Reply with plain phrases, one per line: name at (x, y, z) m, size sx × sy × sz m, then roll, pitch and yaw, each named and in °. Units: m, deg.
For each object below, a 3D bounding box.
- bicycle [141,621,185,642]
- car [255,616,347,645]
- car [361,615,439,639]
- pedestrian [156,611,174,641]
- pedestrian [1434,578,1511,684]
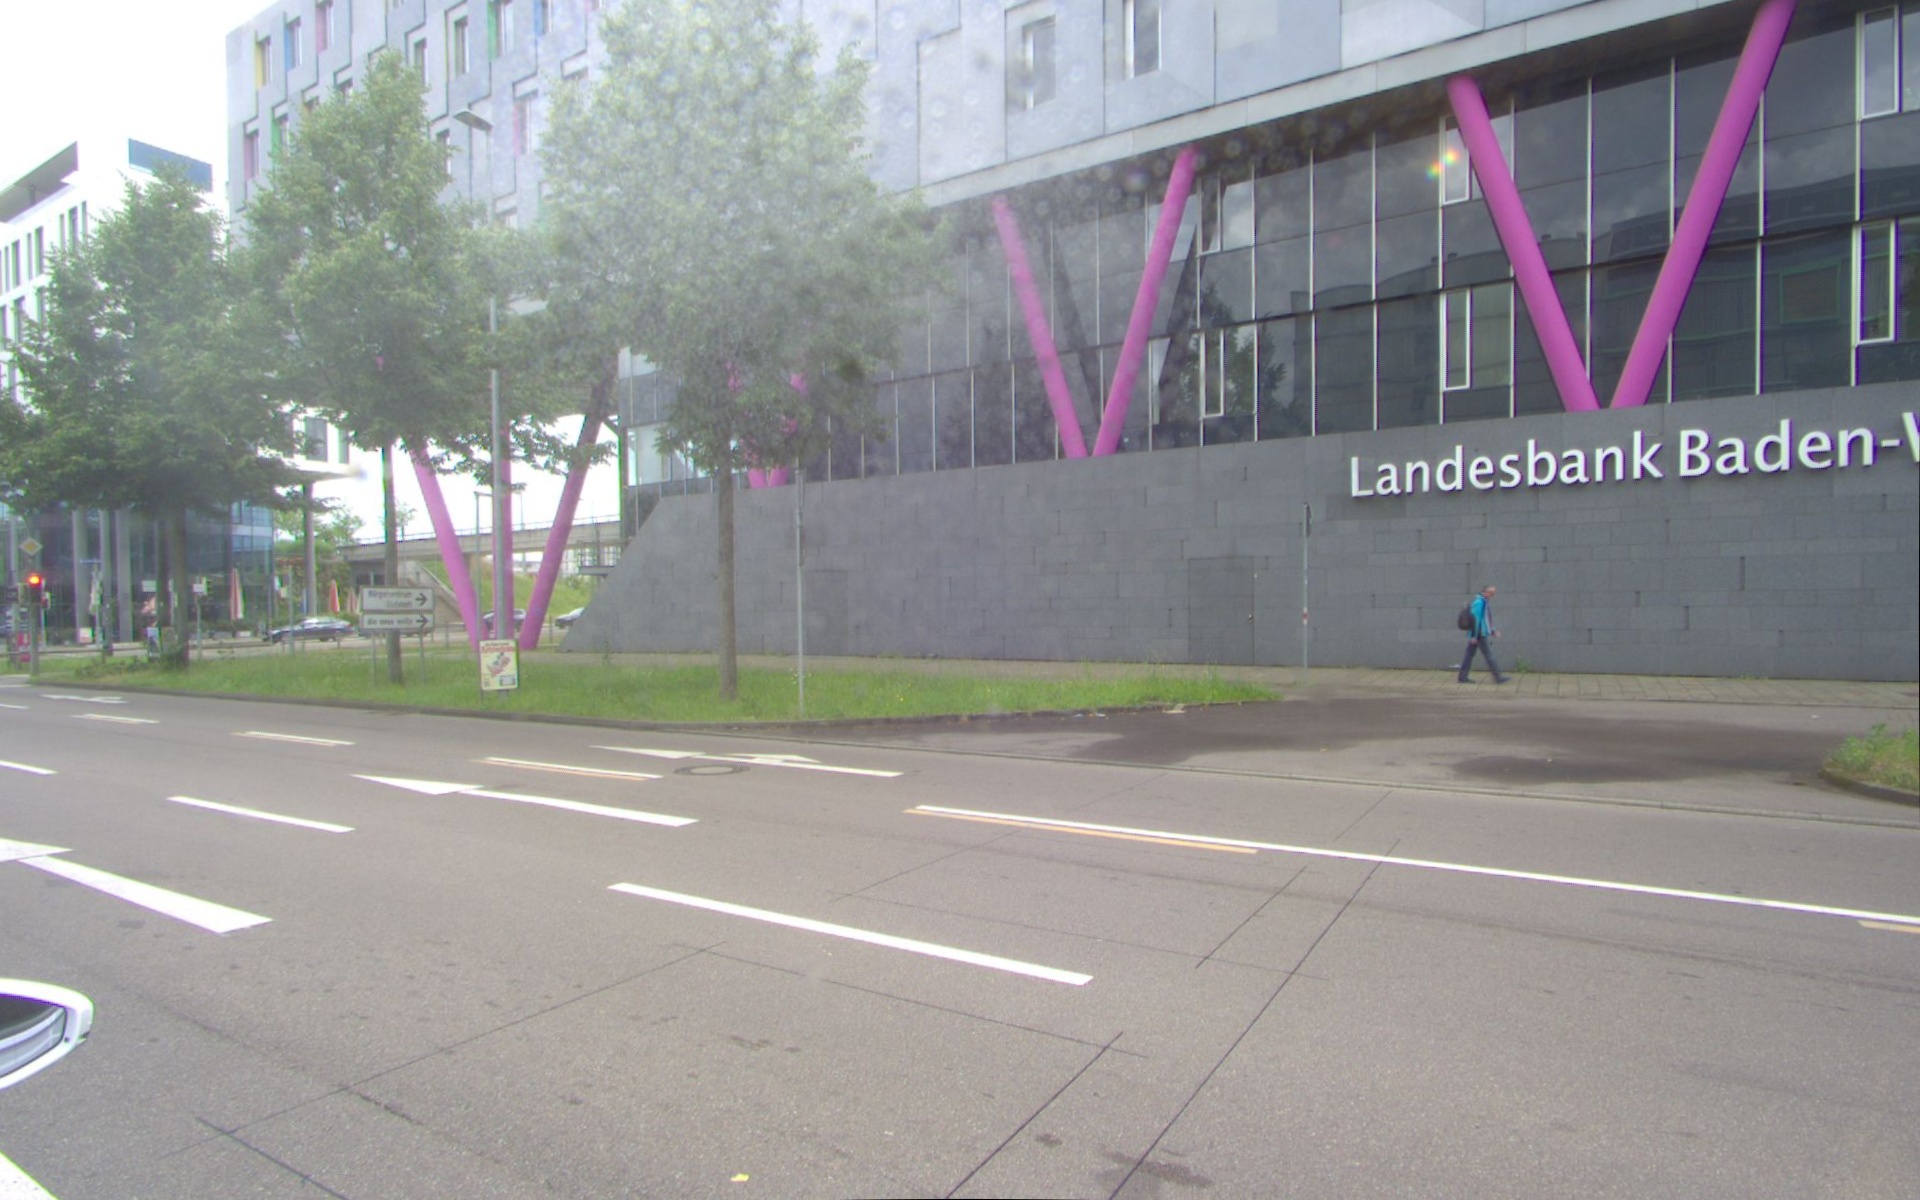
bicycle at (-44.019, 1.720, 55.338) m, size 0.609 × 1.100 × 1.787 m, roll 0°, pitch 0°, yaw 34°
car at (-39.180, 1.795, 59.655) m, size 1.734 × 1.636 × 4.240 m, roll 0°, pitch 0°, yaw 34°
car at (-36.247, 1.720, 64.929) m, size 1.734 × 1.474 × 4.070 m, roll 0°, pitch 0°, yaw 34°
pedestrian at (-43.984, 1.447, 55.392) m, size 0.610 × 1.625 × 0.613 m, roll 0°, pitch 1°, yaw 34°
pedestrian at (9.116, 0.529, 17.795) m, size 1.121 × 1.794 × 1.049 m, roll 0°, pitch 1°, yaw 33°
